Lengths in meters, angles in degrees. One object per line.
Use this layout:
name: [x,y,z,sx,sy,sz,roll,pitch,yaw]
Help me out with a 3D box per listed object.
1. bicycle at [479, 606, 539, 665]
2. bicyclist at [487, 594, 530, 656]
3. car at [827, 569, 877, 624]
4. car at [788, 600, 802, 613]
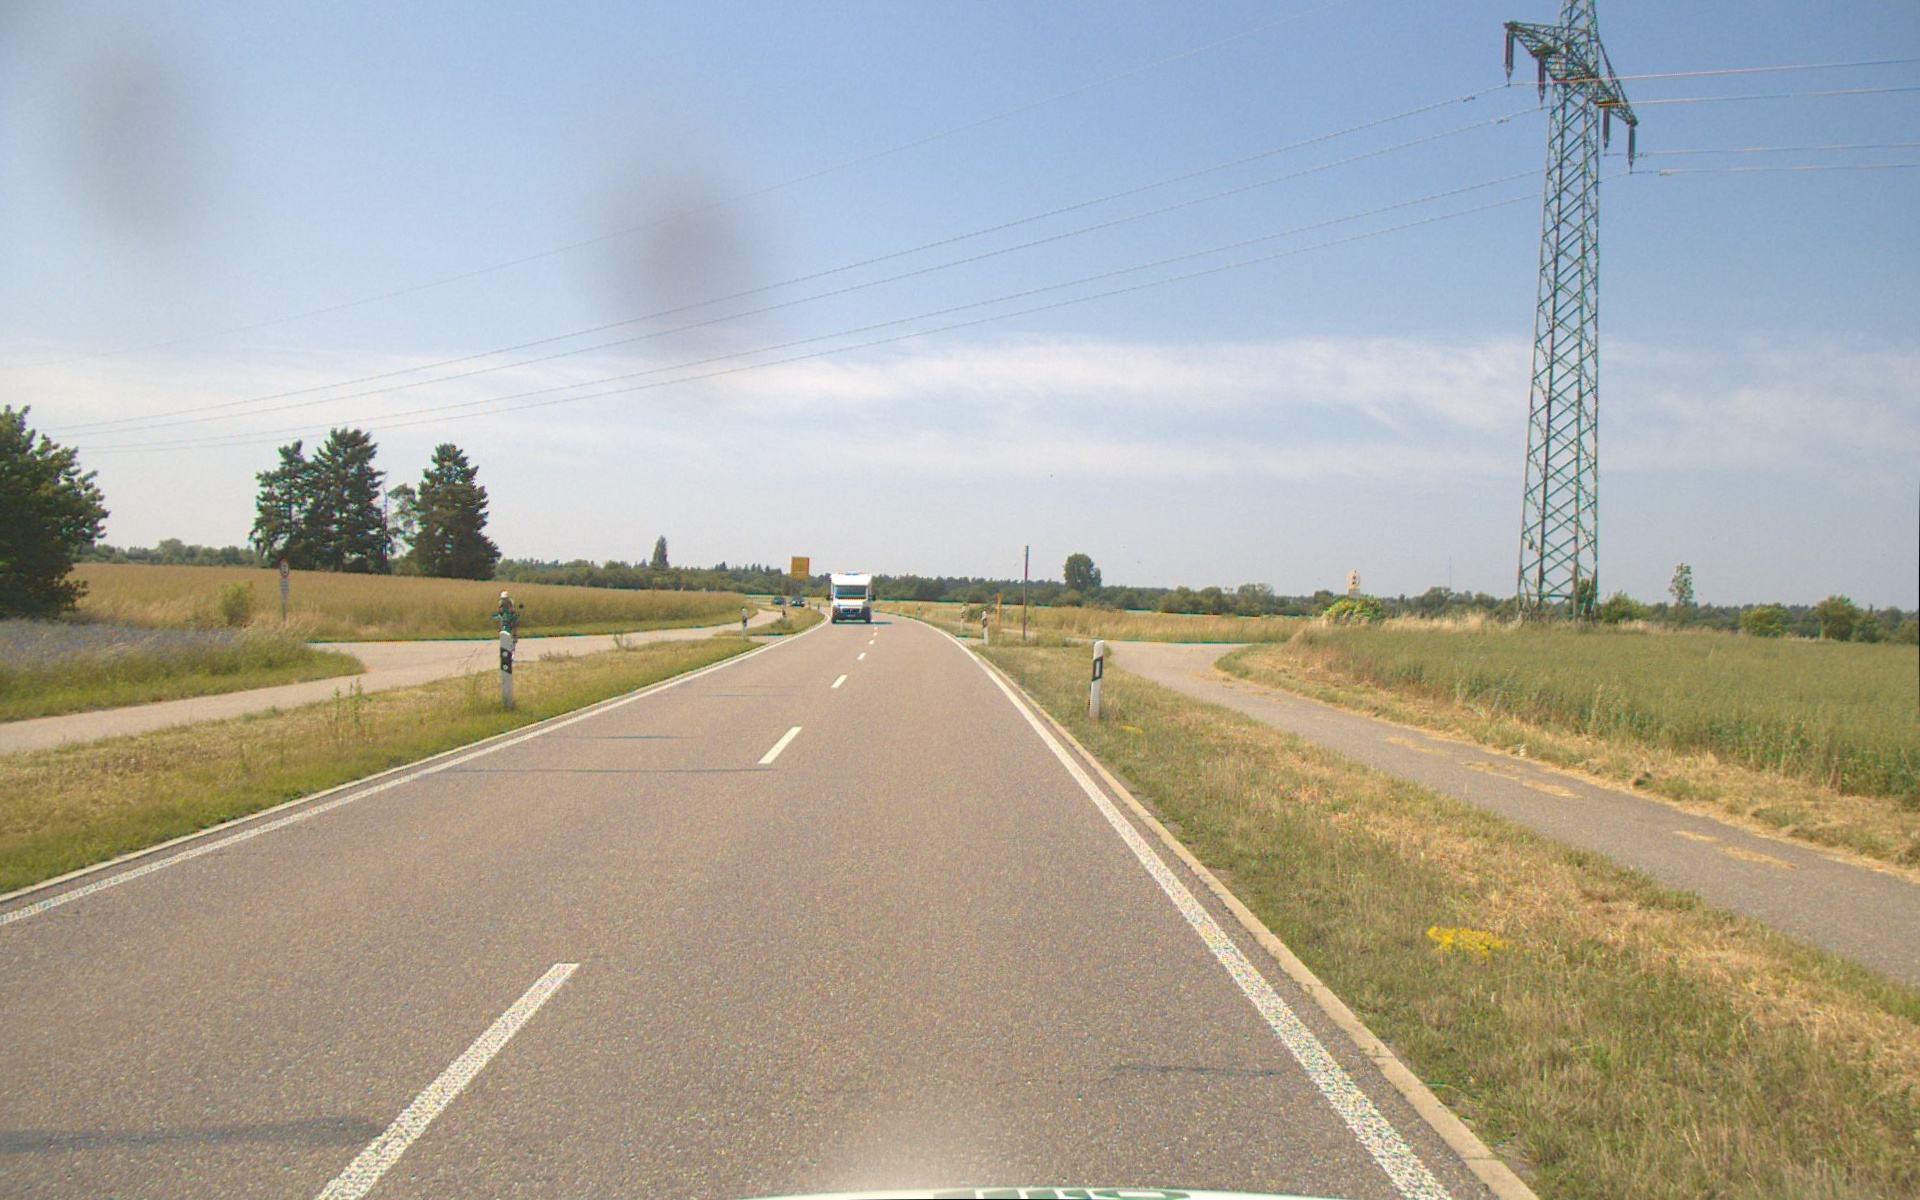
bicycle: [-10.087,0.776,37.077,0.747,1.250,2.215,1,0,-1]
bicyclist: [-10.081,0.554,36.958,0.687,1.354,0.965,1,0,-1]
car: [-5.927,-0.201,91.544,2.349,2.896,7.626,1,0,-1]
car: [-21.651,0.876,217.404,1.678,1.614,3.500,1,-1,-3]
